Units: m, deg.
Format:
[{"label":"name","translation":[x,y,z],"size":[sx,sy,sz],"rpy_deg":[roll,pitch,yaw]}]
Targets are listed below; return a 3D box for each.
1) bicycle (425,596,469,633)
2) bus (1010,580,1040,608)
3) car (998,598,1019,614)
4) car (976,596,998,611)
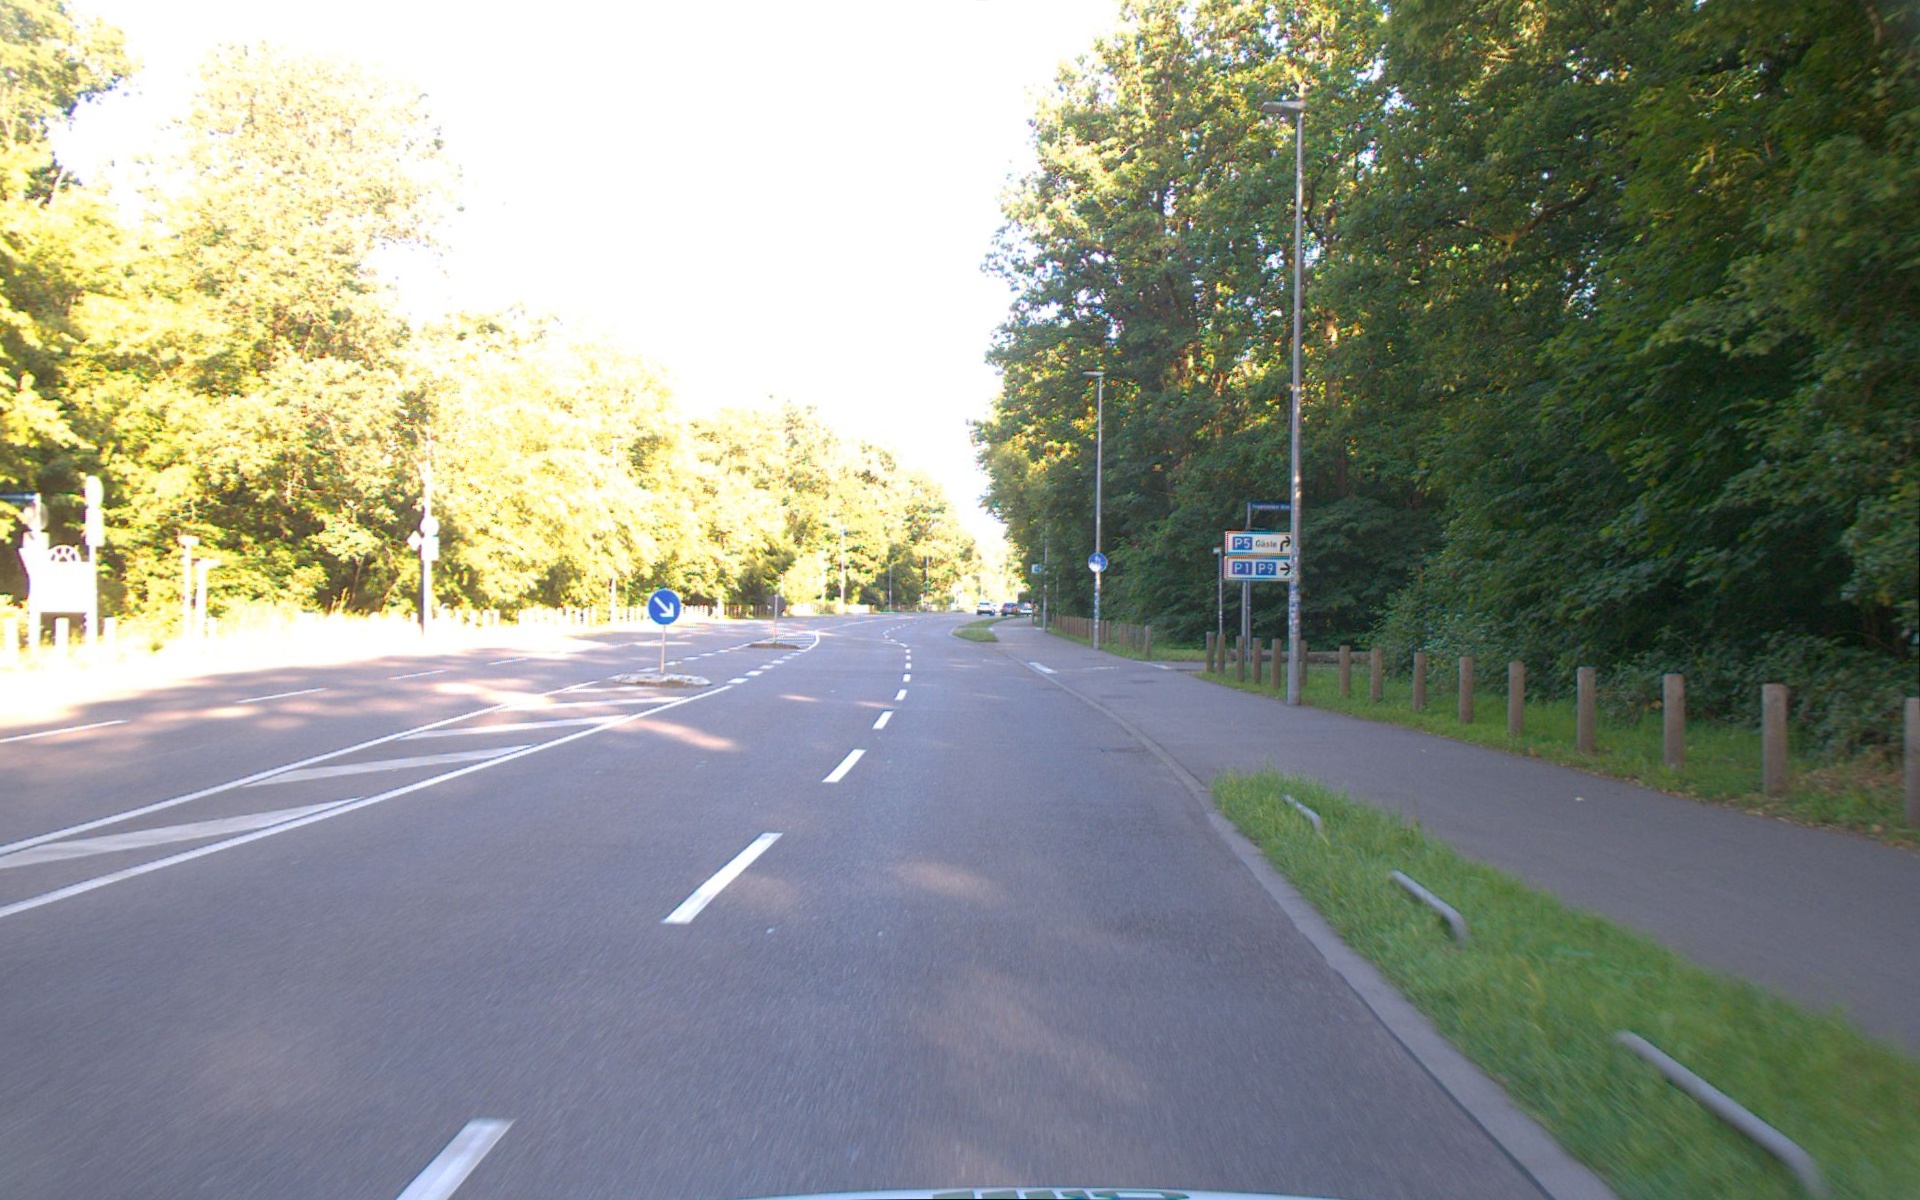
[{"label":"bicycle","translation":[-16.518,0.477,53.294],"size":[0.392,1.152,2.221],"rpy_deg":[2,0,8]},{"label":"bus","translation":[8.129,-0.777,206.781],"size":[2.549,3.427,7.982],"rpy_deg":[2,1,11]},{"label":"car","translation":[5.652,0.647,192.237],"size":[1.840,1.796,4.004],"rpy_deg":[1,1,11]},{"label":"car","translation":[3.183,0.413,192.656],"size":[1.840,1.739,4.004],"rpy_deg":[1,1,11]}]
